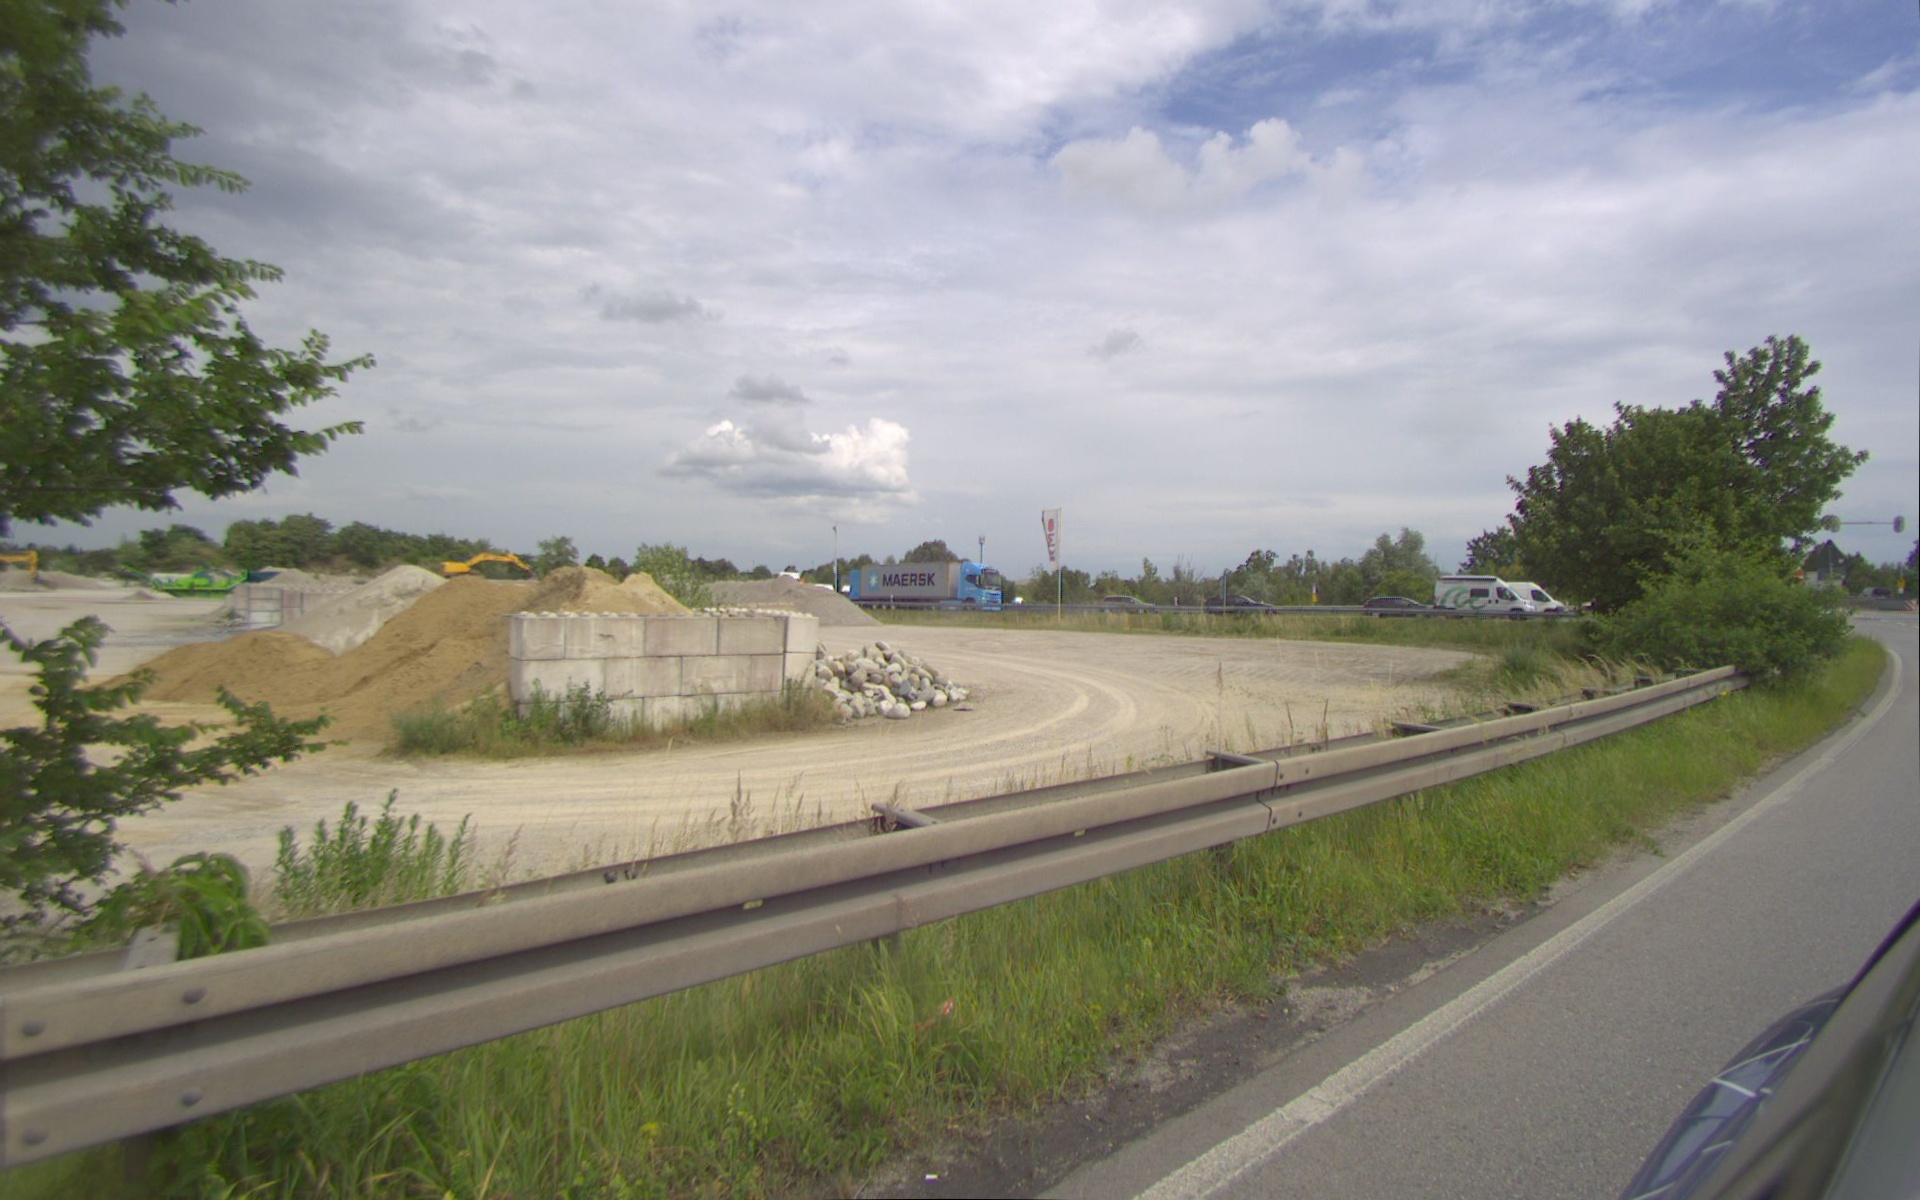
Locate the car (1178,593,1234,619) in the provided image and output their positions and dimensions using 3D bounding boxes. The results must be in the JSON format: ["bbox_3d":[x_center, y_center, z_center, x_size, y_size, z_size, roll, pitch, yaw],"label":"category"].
[{"bbox_3d":[19.723,0.518,81.151,3.974,2.039,1.907,0,-1,35],"label":"car"}]

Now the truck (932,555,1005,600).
[{"bbox_3d":[0.638,-1.722,79.936,5.572,3.348,2.356,-1,-2,41],"label":"truck"}]

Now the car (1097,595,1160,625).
[{"bbox_3d":[12.031,0.700,72.297,3.975,2.039,1.907,1,0,35],"label":"car"}]

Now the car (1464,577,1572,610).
[{"bbox_3d":[35.808,-0.405,65.027,5.859,2.039,2.035,0,-1,36],"label":"car"}]

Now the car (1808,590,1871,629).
[{"bbox_3d":[38.941,0.405,44.841,2.014,1.633,4.216,-1,-1,41],"label":"car"}]

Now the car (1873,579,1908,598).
[{"bbox_3d":[100.400,-1.215,109.214,1.983,2.039,3.957,-1,0,31],"label":"car"}]

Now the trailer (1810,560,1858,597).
[{"bbox_3d":[115.222,-2.788,133.568,3.473,4.571,10.810,-1,0,34],"label":"trailer"}]

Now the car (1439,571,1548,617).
[{"bbox_3d":[31.137,-0.373,59.145,5.384,2.600,2.428,1,0,35],"label":"car"}]

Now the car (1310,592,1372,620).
[{"bbox_3d":[28.329,0.435,75.309,3.974,2.039,1.907,0,-1,35],"label":"car"}]

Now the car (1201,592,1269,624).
[{"bbox_3d":[18.321,0.509,67.430,3.975,2.039,1.907,1,0,35],"label":"car"}]

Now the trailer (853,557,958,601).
[{"bbox_3d":[-4.771,-1.630,85.515,2.351,3.352,11.208,1,-1,-42],"label":"trailer"}]
